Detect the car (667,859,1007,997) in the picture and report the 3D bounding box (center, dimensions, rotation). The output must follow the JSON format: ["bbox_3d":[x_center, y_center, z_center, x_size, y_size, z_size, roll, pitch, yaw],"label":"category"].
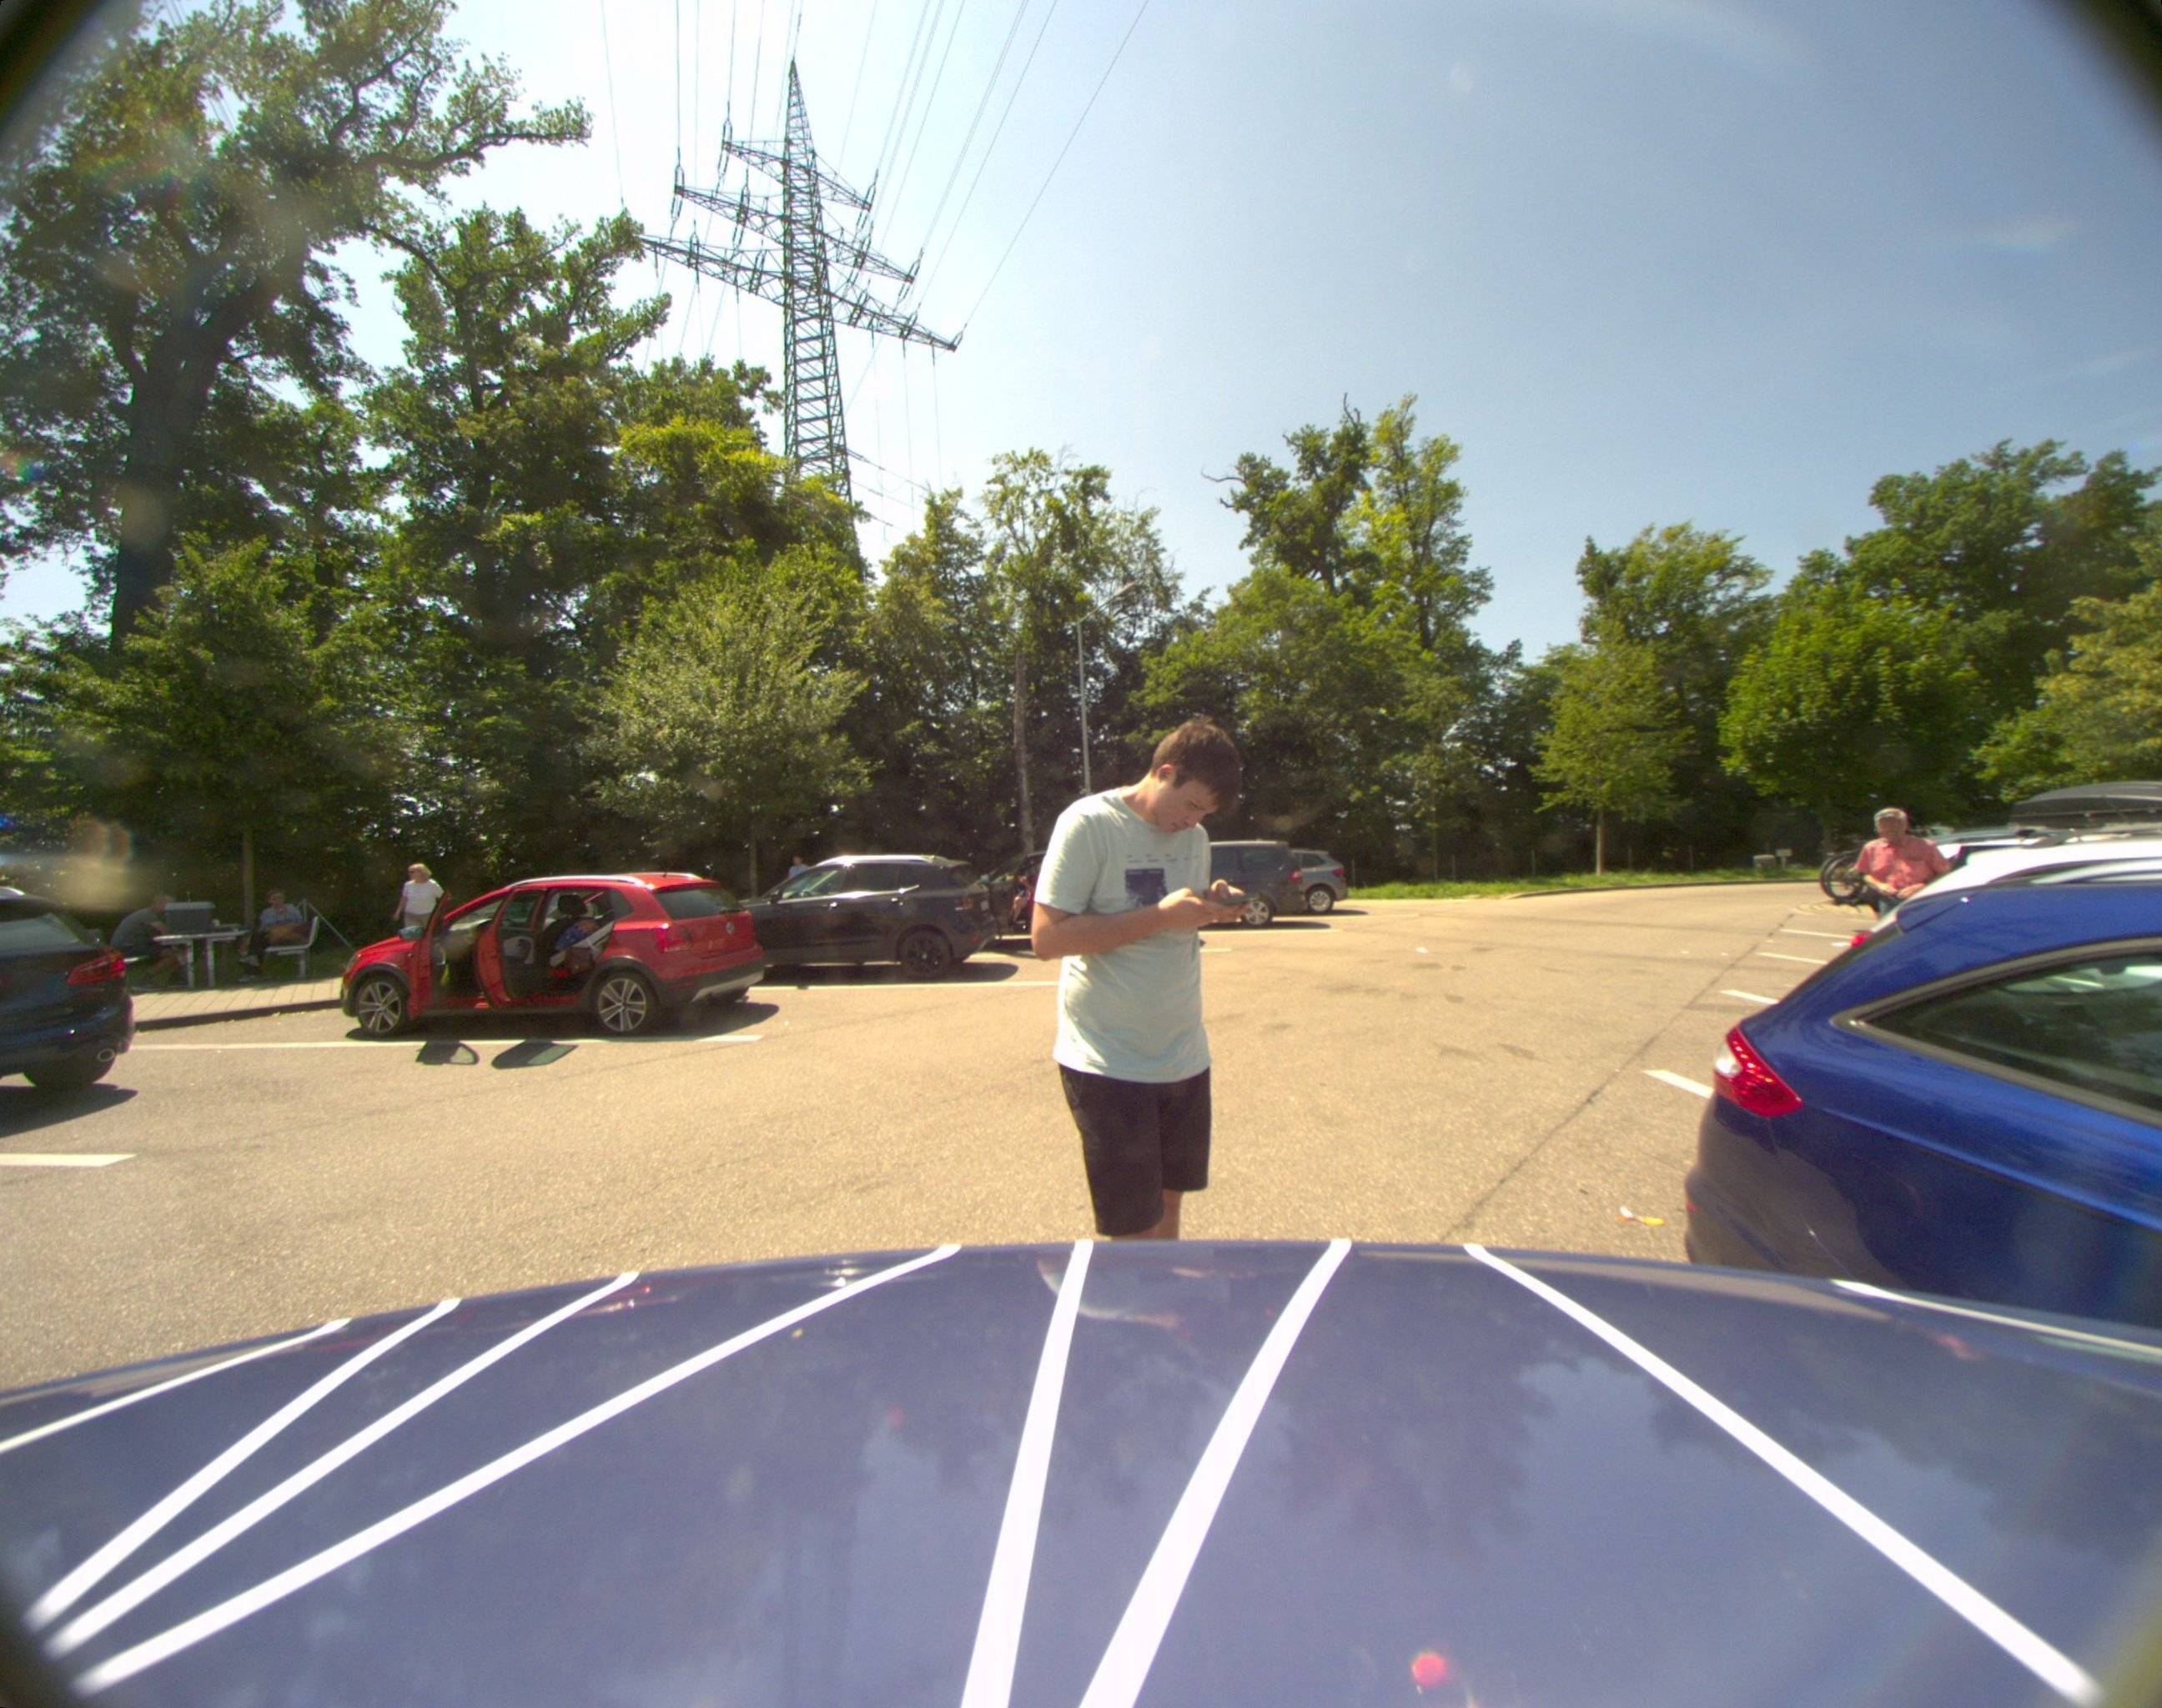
[{"bbox_3d":[-3.154,0.938,10.391,3.966,1.582,1.841,-2,0,3],"label":"car"}]

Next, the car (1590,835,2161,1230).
[{"bbox_3d":[4.896,0.656,3.697,1.779,1.456,4.470,-2,-1,0],"label":"car"}]

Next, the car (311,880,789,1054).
[{"bbox_3d":[-5.201,1.073,7.731,3.704,1.448,1.781,-2,0,7],"label":"car"}]

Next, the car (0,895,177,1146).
[{"bbox_3d":[-8.926,1.158,5.013,4.011,1.558,1.846,-2,0,6],"label":"car"}]

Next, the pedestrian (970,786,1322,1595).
[{"bbox_3d":[0.141,0.720,1.906,0.687,1.699,0.578,-2,0,1],"label":"pedestrian"}]

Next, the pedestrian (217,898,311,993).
[{"bbox_3d":[-11.910,1.309,11.080,0.828,1.287,0.672,-2,0,24],"label":"pedestrian"}]

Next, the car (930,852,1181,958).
[{"bbox_3d":[-0.335,0.839,12.969,3.964,1.582,1.781,-2,0,8],"label":"car"}]

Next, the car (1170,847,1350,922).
[{"bbox_3d":[4.169,0.711,18.214,3.964,1.577,1.781,-2,0,7],"label":"car"}]

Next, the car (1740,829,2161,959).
[{"bbox_3d":[12.357,0.474,10.954,1.779,1.456,4.470,-2,-1,0],"label":"car"}]

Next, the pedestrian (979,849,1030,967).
[{"bbox_3d":[-1.160,0.806,11.638,0.660,1.745,0.636,-2,0,1],"label":"pedestrian"}]

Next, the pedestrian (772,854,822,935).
[{"bbox_3d":[-5.770,0.809,15.470,0.715,1.584,0.809,-2,0,-7],"label":"pedestrian"}]

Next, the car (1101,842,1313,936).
[{"bbox_3d":[2.500,0.695,15.461,3.964,1.678,1.781,-2,0,7],"label":"car"}]

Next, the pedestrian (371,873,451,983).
[{"bbox_3d":[-10.333,1.110,11.756,0.777,1.584,0.808,-2,0,-34],"label":"pedestrian"}]

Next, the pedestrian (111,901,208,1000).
[{"bbox_3d":[-12.664,1.305,10.450,0.652,1.262,0.672,-2,0,24],"label":"pedestrian"}]

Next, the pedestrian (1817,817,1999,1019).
[{"bbox_3d":[7.006,0.519,6.478,0.672,1.592,0.759,-2,0,1],"label":"pedestrian"}]

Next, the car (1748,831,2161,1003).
[{"bbox_3d":[10.055,0.531,8.170,1.779,1.456,4.470,-2,-1,0],"label":"car"}]
